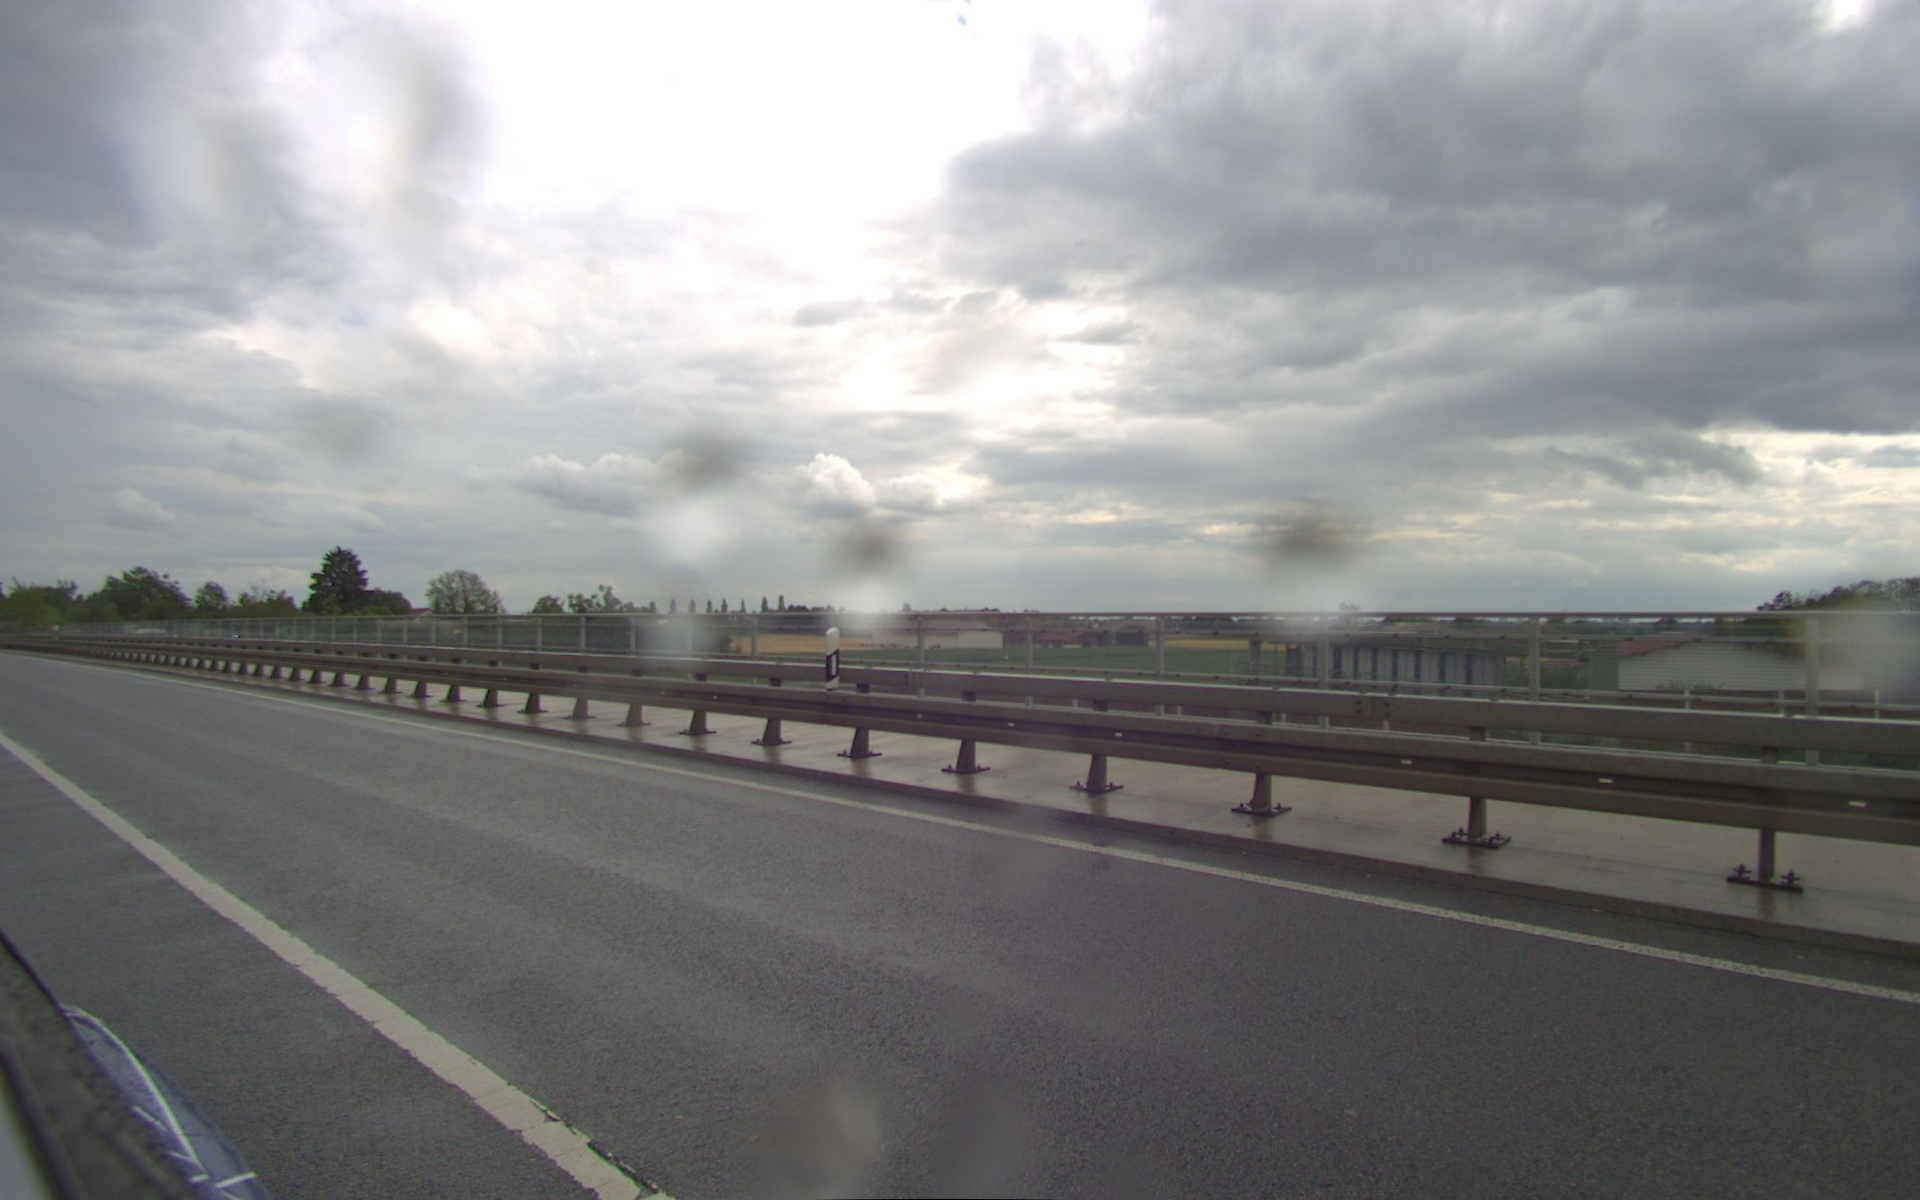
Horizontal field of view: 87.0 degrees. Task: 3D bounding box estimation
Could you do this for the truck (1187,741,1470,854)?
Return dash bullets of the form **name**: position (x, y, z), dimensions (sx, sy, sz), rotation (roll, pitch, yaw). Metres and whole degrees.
- **truck**: position (15.457, 8.264, 42.838), dimensions (11.006, 4.031, 2.438), rotation (-1, 0, -2)
